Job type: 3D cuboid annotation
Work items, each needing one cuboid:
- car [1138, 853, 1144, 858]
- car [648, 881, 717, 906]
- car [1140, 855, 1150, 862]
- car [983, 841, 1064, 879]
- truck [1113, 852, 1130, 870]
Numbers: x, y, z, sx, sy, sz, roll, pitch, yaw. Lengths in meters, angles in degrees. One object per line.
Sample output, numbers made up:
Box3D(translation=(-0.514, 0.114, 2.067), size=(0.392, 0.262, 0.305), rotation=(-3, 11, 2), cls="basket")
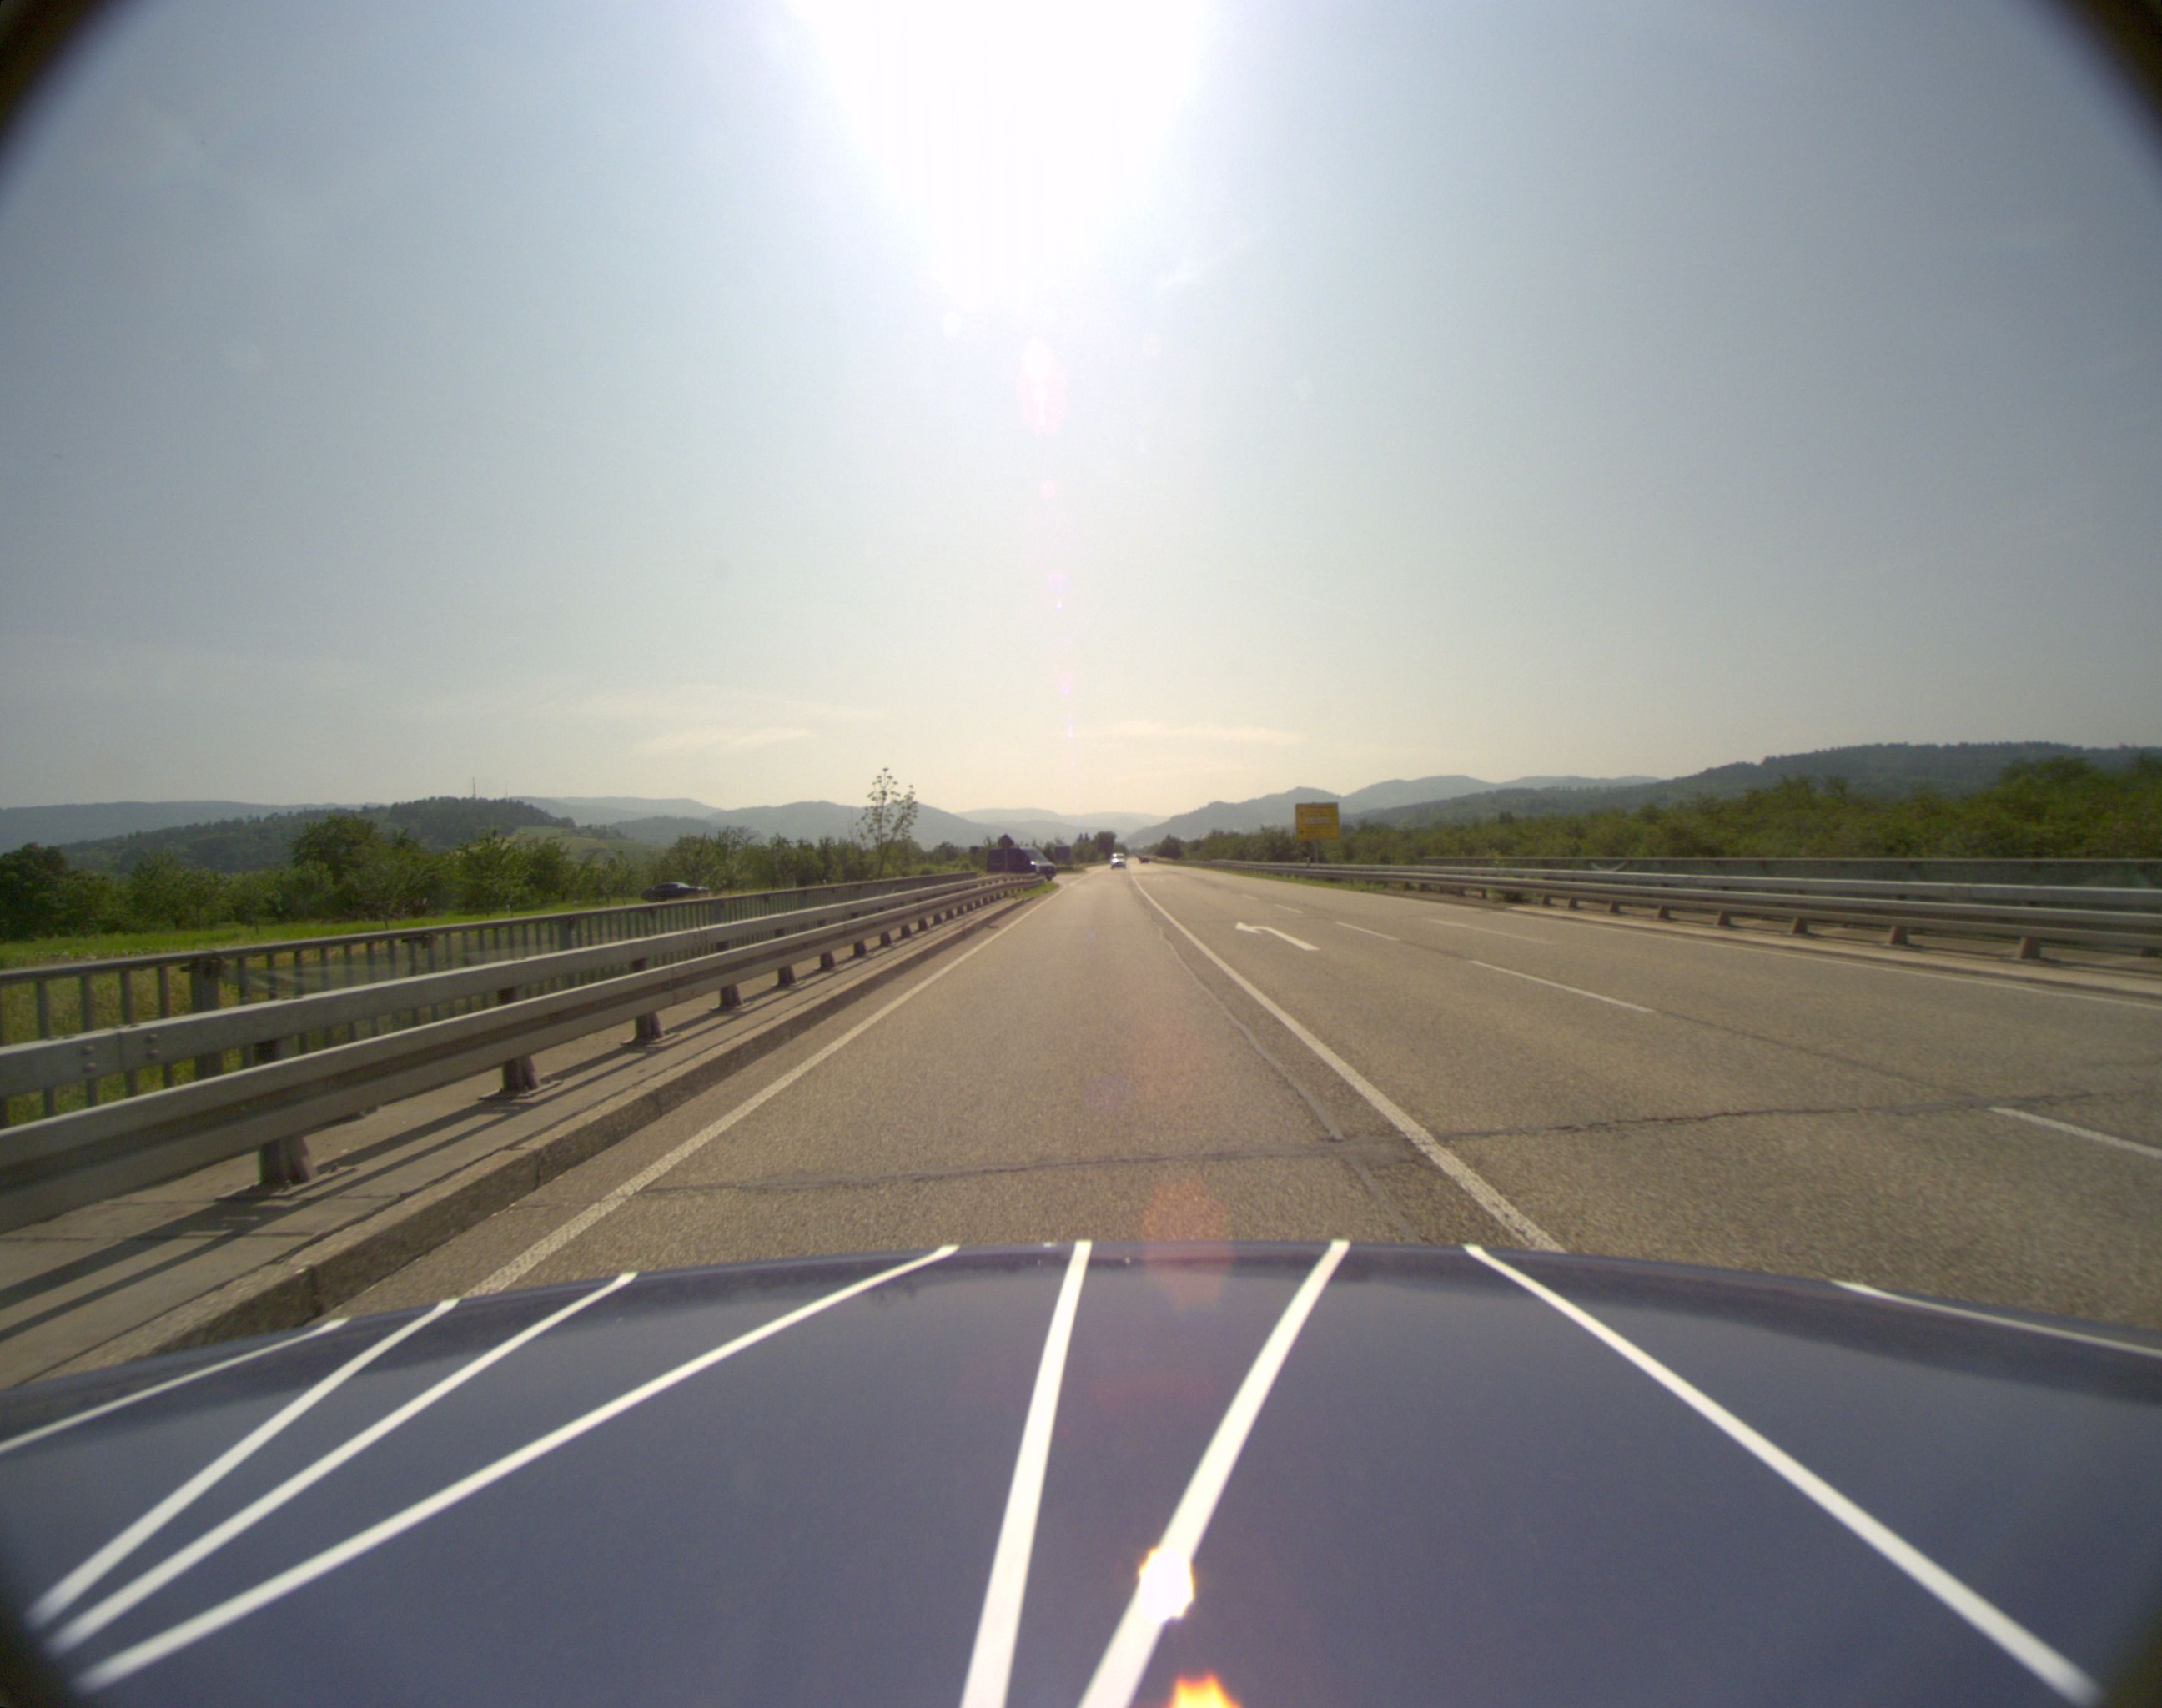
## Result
Box3D(translation=(18.671, 0.469, 236.179), size=(1.808, 1.628, 4.810), rotation=(-2, 0, 3), cls="car")
Box3D(translation=(-33.410, 3.315, 63.814), size=(4.674, 1.687, 1.998), rotation=(-2, 2, -7), cls="car")
Box3D(translation=(13.519, 0.890, 160.626), size=(1.820, 1.440, 4.496), rotation=(-2, 0, 3), cls="car")
Box3D(translation=(-4.354, 0.453, 56.496), size=(6.295, 2.559, 2.066), rotation=(-3, 0, 42), cls="car")
Box3D(translation=(5.334, 0.935, 99.911), size=(2.031, 2.232, 4.765), rotation=(-2, 0, 3), cls="truck")
